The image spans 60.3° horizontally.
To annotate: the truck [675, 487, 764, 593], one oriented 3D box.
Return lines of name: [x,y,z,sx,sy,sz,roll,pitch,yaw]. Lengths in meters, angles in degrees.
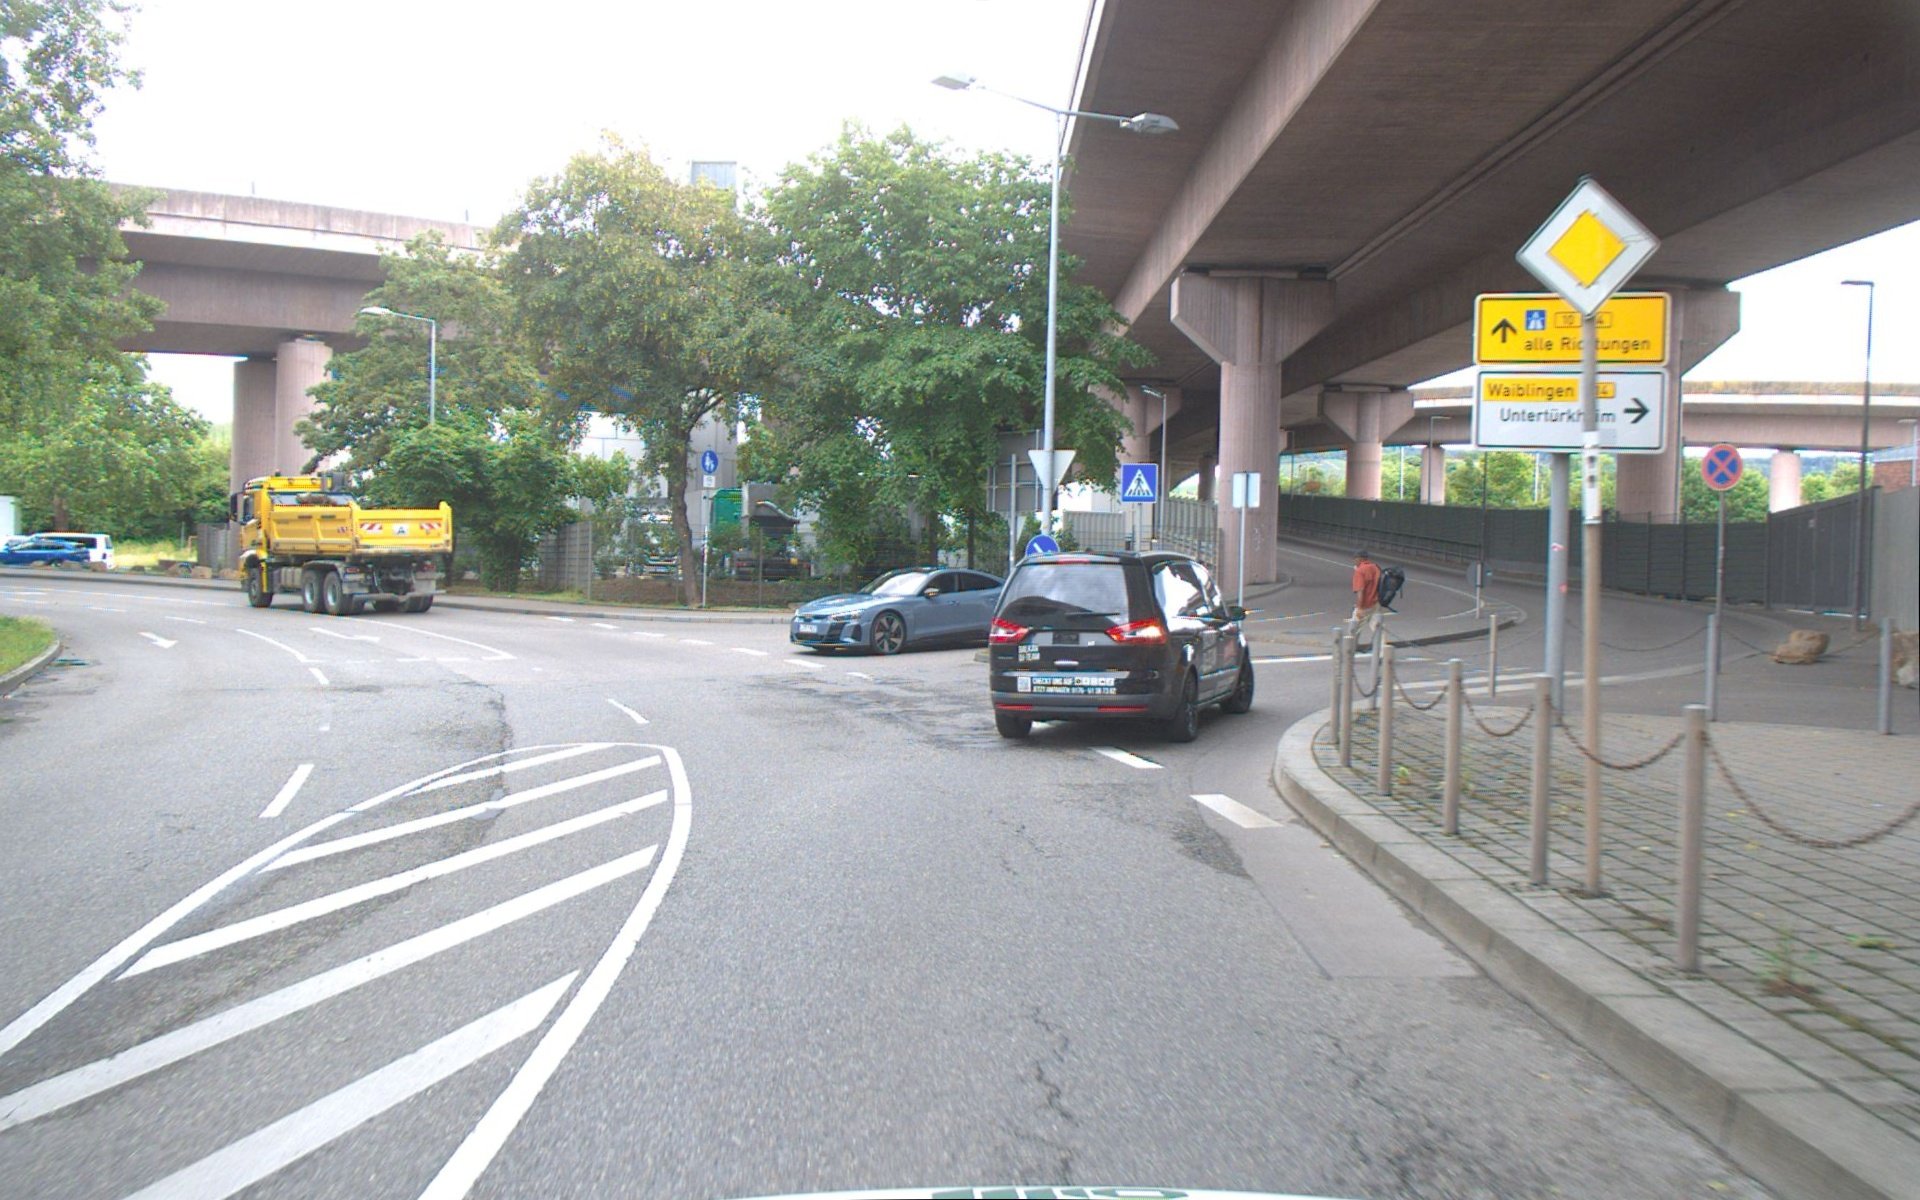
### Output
truck: [-11.699,-2.937,79.833,3.151,4.862,8.014,0,3,-16]

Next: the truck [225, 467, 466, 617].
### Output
truck: [-16.124,-1.605,43.072,2.914,3.541,8.114,-3,4,-44]

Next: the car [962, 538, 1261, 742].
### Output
car: [1.661,0.304,16.316,1.952,1.708,4.562,0,1,18]

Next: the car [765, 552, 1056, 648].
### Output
car: [-0.783,-0.040,28.772,4.891,1.528,2.140,-1,1,-43]

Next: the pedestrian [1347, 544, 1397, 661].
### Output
pedestrian: [6.082,0.026,24.403,0.527,1.705,0.556,-1,2,-12]

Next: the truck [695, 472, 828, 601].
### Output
truck: [-6.783,-2.147,55.650,3.020,4.031,6.886,-1,2,-19]

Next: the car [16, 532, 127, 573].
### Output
car: [-42.262,-2.240,78.769,4.240,1.889,1.993,0,1,-13]

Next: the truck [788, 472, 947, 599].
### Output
truck: [-3.261,-2.191,55.595,3.022,3.934,7.999,-1,3,-21]

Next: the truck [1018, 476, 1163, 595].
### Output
truck: [5.010,-2.593,65.528,3.017,4.374,8.013,0,3,-17]

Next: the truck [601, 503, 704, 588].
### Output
truck: [-14.198,-2.552,75.969,3.014,3.681,7.861,0,3,-23]

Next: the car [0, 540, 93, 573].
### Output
car: [-41.715,-1.948,74.453,4.365,1.467,1.995,0,1,-11]

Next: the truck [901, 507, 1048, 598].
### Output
truck: [0.397,-1.715,57.073,2.874,2.949,6.518,-1,3,-21]

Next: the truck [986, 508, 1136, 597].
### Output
truck: [3.451,-1.751,58.512,2.874,2.949,6.518,-1,3,-21]
